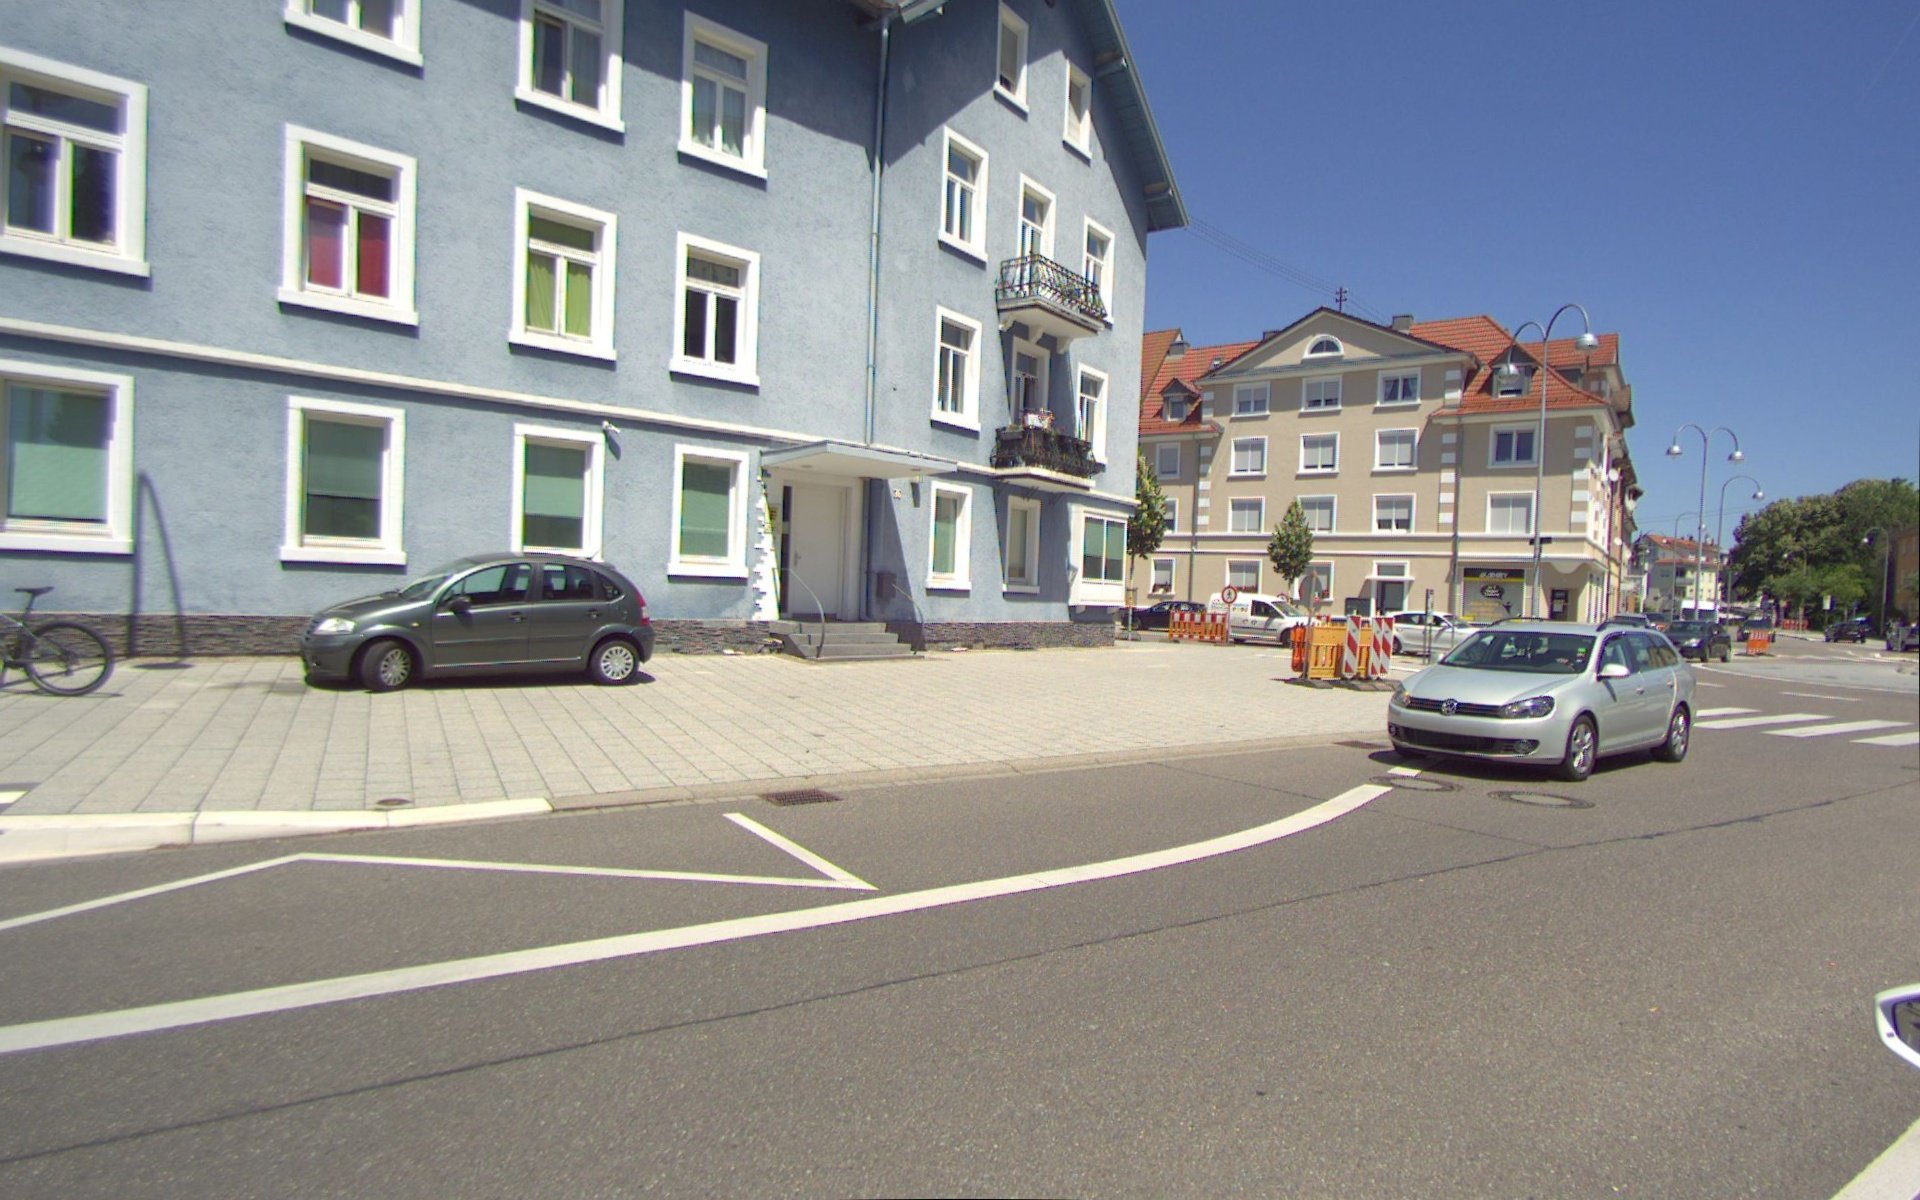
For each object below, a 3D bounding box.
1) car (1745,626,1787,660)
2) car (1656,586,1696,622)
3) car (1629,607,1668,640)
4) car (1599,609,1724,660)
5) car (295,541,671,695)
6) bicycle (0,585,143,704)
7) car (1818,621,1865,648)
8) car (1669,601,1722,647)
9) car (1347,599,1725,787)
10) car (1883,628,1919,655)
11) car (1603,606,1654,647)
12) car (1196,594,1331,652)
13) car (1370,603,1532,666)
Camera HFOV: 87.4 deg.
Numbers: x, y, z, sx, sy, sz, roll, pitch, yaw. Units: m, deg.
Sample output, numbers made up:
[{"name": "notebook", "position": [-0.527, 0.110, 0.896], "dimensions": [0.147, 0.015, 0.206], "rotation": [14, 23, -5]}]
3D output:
[{"name": "car", "position": [53.367, 2.797, 66.459], "dimensions": [1.970, 2.040, 3.981], "rotation": [4, 2, 40]}, {"name": "car", "position": [54.317, 0.313, 76.293], "dimensions": [2.115, 2.566, 4.841], "rotation": [5, 2, 33]}, {"name": "car", "position": [37.655, 1.274, 54.890], "dimensions": [1.577, 1.638, 4.077], "rotation": [5, 2, 36]}, {"name": "car", "position": [24.385, 1.169, 35.096], "dimensions": [1.632, 1.472, 4.023], "rotation": [-1, 2, 1]}, {"name": "car", "position": [-5.566, 0.251, 11.912], "dimensions": [3.741, 1.554, 1.566], "rotation": [4, 0, -37]}, {"name": "bicycle", "position": [-8.560, 0.382, 8.914], "dimensions": [1.947, 0.990, 0.494], "rotation": [3, 4, -27]}, {"name": "car", "position": [65.256, 2.516, 74.438], "dimensions": [1.786, 1.818, 3.992], "rotation": [4, 1, 30]}, {"name": "car", "position": [45.482, 1.458, 62.228], "dimensions": [2.115, 2.566, 6.220], "rotation": [5, 2, 33]}, {"name": "car", "position": [6.226, 0.863, 10.686], "dimensions": [4.351, 1.549, 1.826], "rotation": [-1, -4, -37]}, {"name": "car", "position": [57.113, 2.502, 60.150], "dimensions": [1.786, 1.520, 3.992], "rotation": [4, 1, 30]}, {"name": "car", "position": [30.449, 1.191, 45.703], "dimensions": [1.752, 1.708, 4.678], "rotation": [3, 1, 35]}, {"name": "car", "position": [10.651, 0.760, 35.417], "dimensions": [4.181, 1.801, 1.772], "rotation": [3, 1, 42]}, {"name": "car", "position": [15.126, 1.025, 31.086], "dimensions": [1.774, 1.572, 4.076], "rotation": [2, 2, -42]}]
